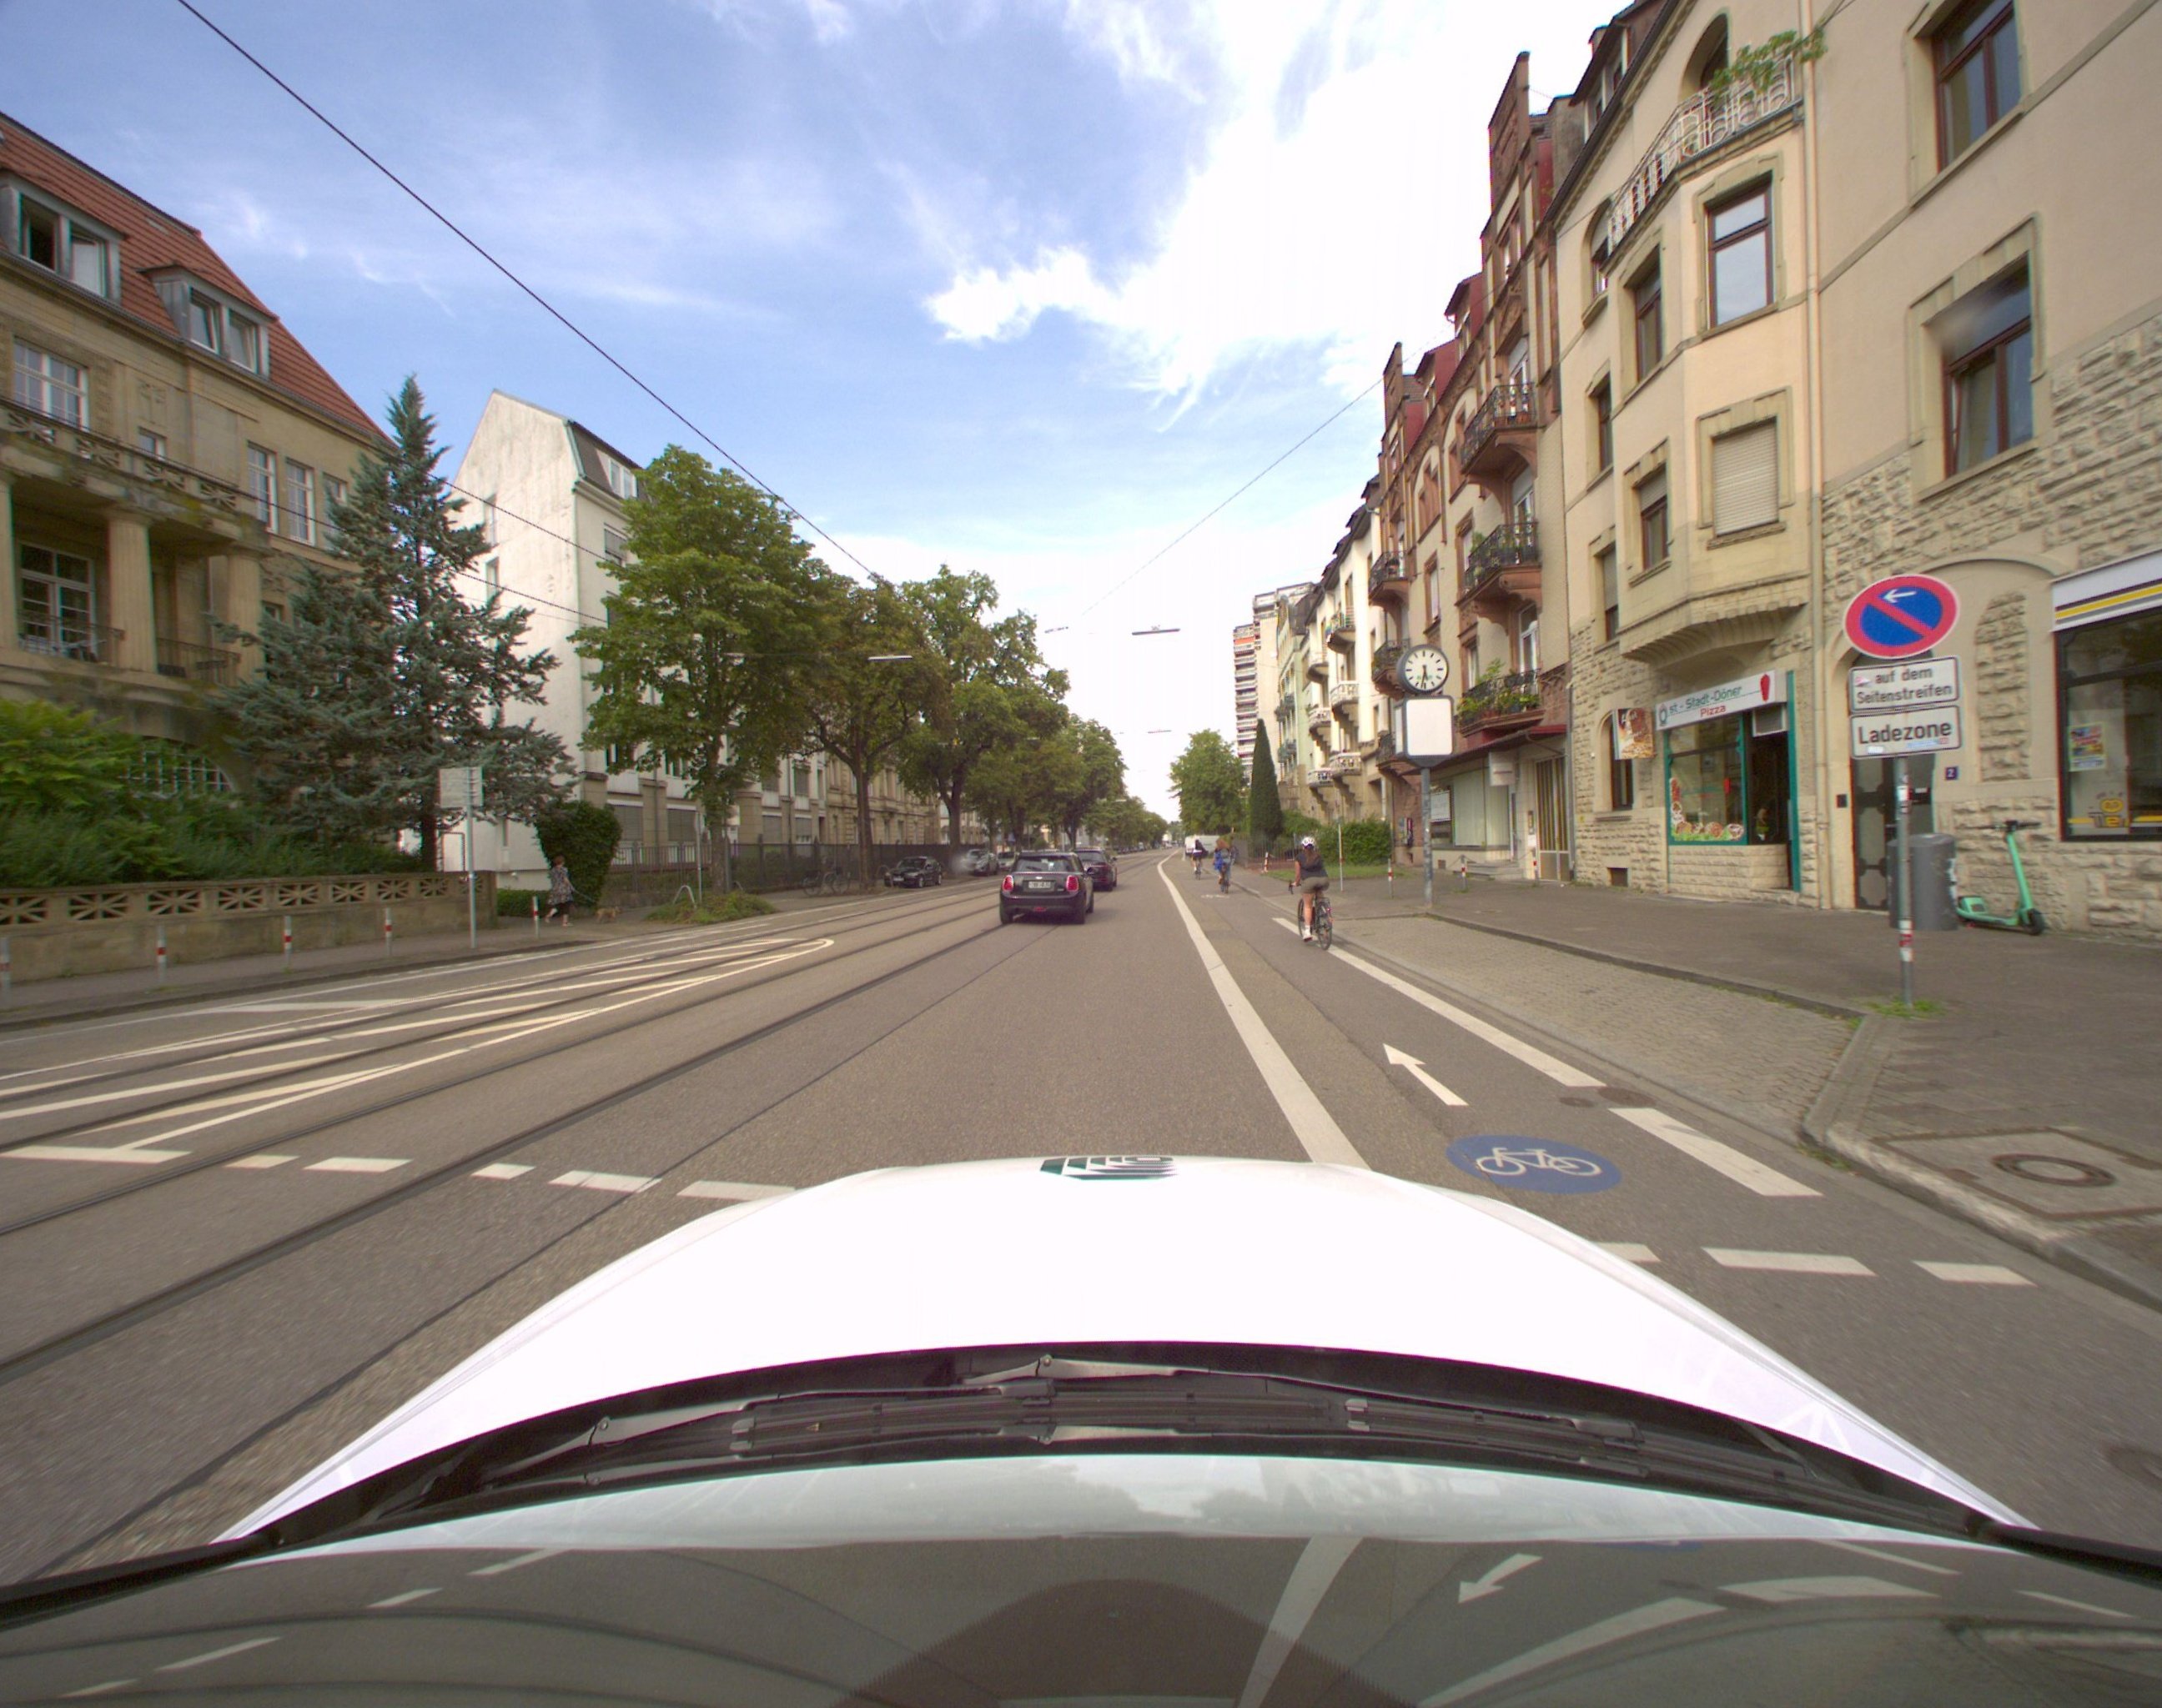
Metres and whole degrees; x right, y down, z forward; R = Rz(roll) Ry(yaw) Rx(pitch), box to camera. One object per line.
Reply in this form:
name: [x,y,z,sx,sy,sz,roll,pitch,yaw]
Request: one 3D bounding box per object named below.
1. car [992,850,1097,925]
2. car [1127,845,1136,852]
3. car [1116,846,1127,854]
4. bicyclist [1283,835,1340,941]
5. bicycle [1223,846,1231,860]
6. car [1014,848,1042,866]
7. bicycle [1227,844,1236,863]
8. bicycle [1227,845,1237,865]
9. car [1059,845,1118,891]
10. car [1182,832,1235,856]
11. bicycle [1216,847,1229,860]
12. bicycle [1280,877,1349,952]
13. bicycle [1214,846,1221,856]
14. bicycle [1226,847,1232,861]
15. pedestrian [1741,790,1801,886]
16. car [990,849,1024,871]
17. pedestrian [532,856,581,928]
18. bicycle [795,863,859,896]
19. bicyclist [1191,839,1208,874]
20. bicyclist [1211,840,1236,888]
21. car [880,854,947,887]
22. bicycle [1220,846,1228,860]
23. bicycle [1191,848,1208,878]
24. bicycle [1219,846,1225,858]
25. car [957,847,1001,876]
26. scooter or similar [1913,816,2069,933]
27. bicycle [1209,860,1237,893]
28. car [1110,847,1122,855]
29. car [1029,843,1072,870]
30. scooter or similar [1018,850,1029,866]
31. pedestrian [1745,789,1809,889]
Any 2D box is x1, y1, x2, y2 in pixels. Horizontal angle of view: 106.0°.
car: [-0.659,0.630,17.595,1.785,1.423,4.005,0,1,4]
car: [11.938,-1.368,191.891,1.793,1.583,4.039,-3,0,7]
car: [8.041,-0.832,162.537,1.793,1.583,4.039,-3,0,7]
bicyclist: [3.567,0.494,12.650,0.635,1.570,1.112,-1,0,5]
bicycle: [10.048,-0.051,56.089,0.483,0.907,1.668,-3,0,8]
car: [-4.445,0.213,68.868,1.712,1.423,4.031,0,1,6]
bicycle: [9.242,-0.060,50.100,0.389,1.142,1.925,-3,0,7]
bicycle: [8.797,0.031,47.414,0.389,1.102,1.763,-3,0,7]
car: [0.325,0.424,28.099,1.785,1.470,4.005,0,1,4]
car: [12.649,-0.990,80.761,4.981,2.290,2.359,-1,0,-36]
bicycle: [10.383,-0.061,59.780,0.485,0.907,1.662,-3,0,-4]
bicycle: [3.573,0.892,12.636,0.635,0.980,2.074,-1,1,5]
bicycle: [12.116,-0.257,72.379,0.384,0.907,1.845,-3,0,6]
bicycle: [9.853,0.002,54.284,0.276,0.852,1.200,-3,0,8]
pedestrian: [11.697,-0.262,13.820,0.556,1.580,0.508,-2,0,6]
car: [-5.240,0.414,58.075,1.592,1.468,4.087,-1,1,7]
pedestrian: [-13.019,0.919,20.216,0.702,1.735,0.701,-1,0,2]
bicycle: [-9.698,0.961,31.084,2.240,1.175,0.828,-1,1,-26]
bicyclist: [5.087,0.086,35.018,0.654,1.463,1.180,-1,1,6]
bicyclist: [4.490,0.304,25.709,0.644,1.470,0.801,-2,1,3]
car: [-7.893,0.747,38.743,1.710,1.424,4.177,0,1,9]
bicycle: [10.180,-0.080,57.874,0.482,0.907,1.670,-3,0,10]
bicycle: [5.079,0.378,35.025,0.654,1.249,2.128,-1,1,6]
bicycle: [11.106,-0.132,64.166,0.383,0.907,1.670,-3,0,12]
car: [-6.296,0.426,50.753,1.701,1.673,4.366,-1,1,7]
scooter or similar: [9.821,0.198,8.838,0.395,1.167,1.199,-4,0,8]
bicycle: [4.515,0.696,25.994,0.685,0.962,2.039,-1,1,4]
car: [6.532,-0.643,152.229,1.793,1.374,4.039,-3,0,7]
car: [-1.769,0.095,48.122,1.561,1.416,4.012,-4,0,11]
scooter or similar: [-4.658,0.333,65.939,0.562,1.223,1.316,-2,0,-16]
pedestrian: [11.362,-0.239,13.307,0.547,1.580,0.562,-2,0,7]
